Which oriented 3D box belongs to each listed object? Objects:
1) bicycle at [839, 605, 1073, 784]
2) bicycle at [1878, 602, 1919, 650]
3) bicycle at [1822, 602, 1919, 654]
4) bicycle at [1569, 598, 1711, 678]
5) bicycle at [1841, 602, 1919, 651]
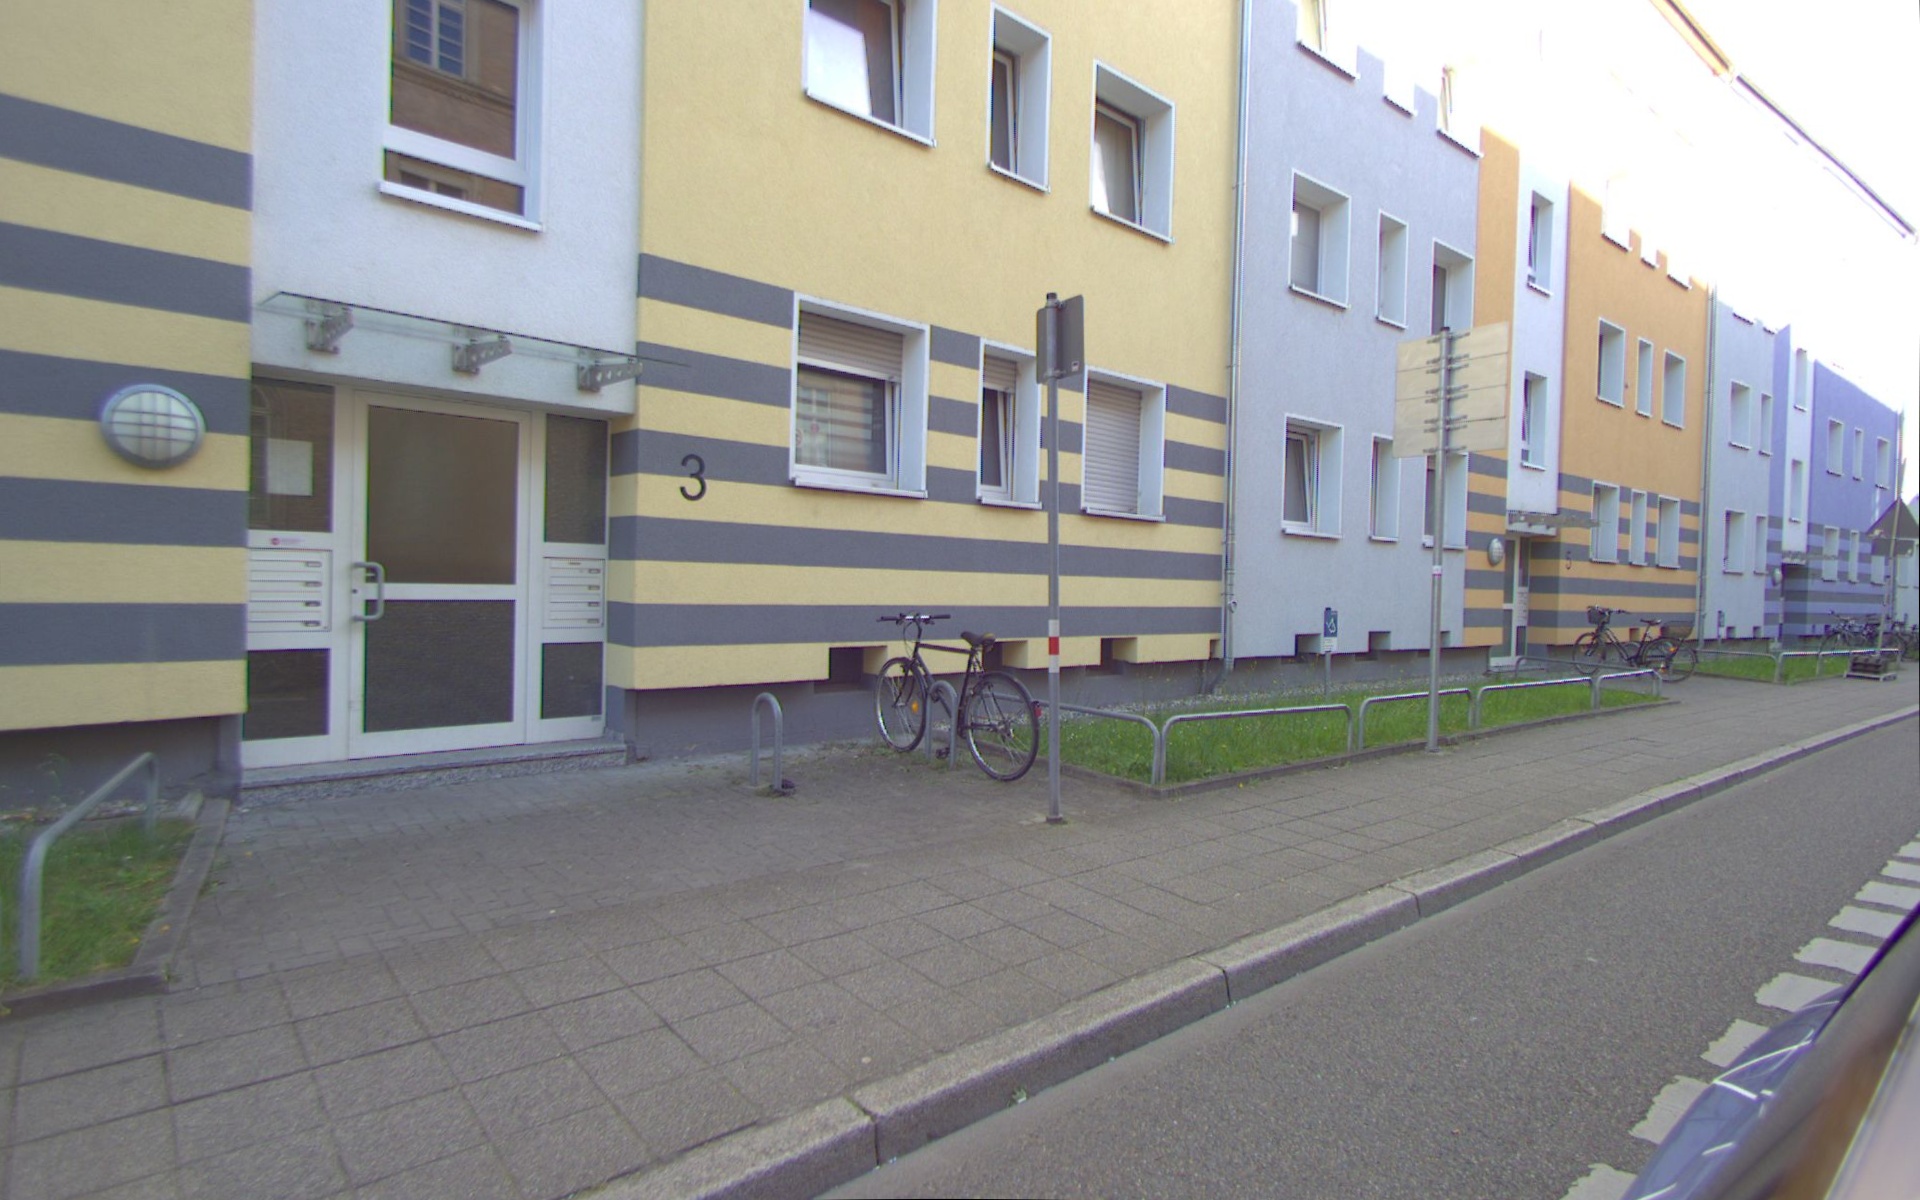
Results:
[{"bbox_3d":[-0.078,0.588,7.018,1.775,1.031,0.476,3,1,44],"label":"bicycle"},{"bbox_3d":[24.130,0.667,25.279,0.475,1.166,1.678,1,1,-37],"label":"bicycle"},{"bbox_3d":[22.221,0.671,24.730,0.475,1.166,1.678,1,1,-37],"label":"bicycle"},{"bbox_3d":[10.683,0.567,15.947,1.775,1.137,0.476,3,1,44],"label":"bicycle"},{"bbox_3d":[23.302,0.654,25.423,0.475,1.166,1.678,1,1,-37],"label":"bicycle"}]
